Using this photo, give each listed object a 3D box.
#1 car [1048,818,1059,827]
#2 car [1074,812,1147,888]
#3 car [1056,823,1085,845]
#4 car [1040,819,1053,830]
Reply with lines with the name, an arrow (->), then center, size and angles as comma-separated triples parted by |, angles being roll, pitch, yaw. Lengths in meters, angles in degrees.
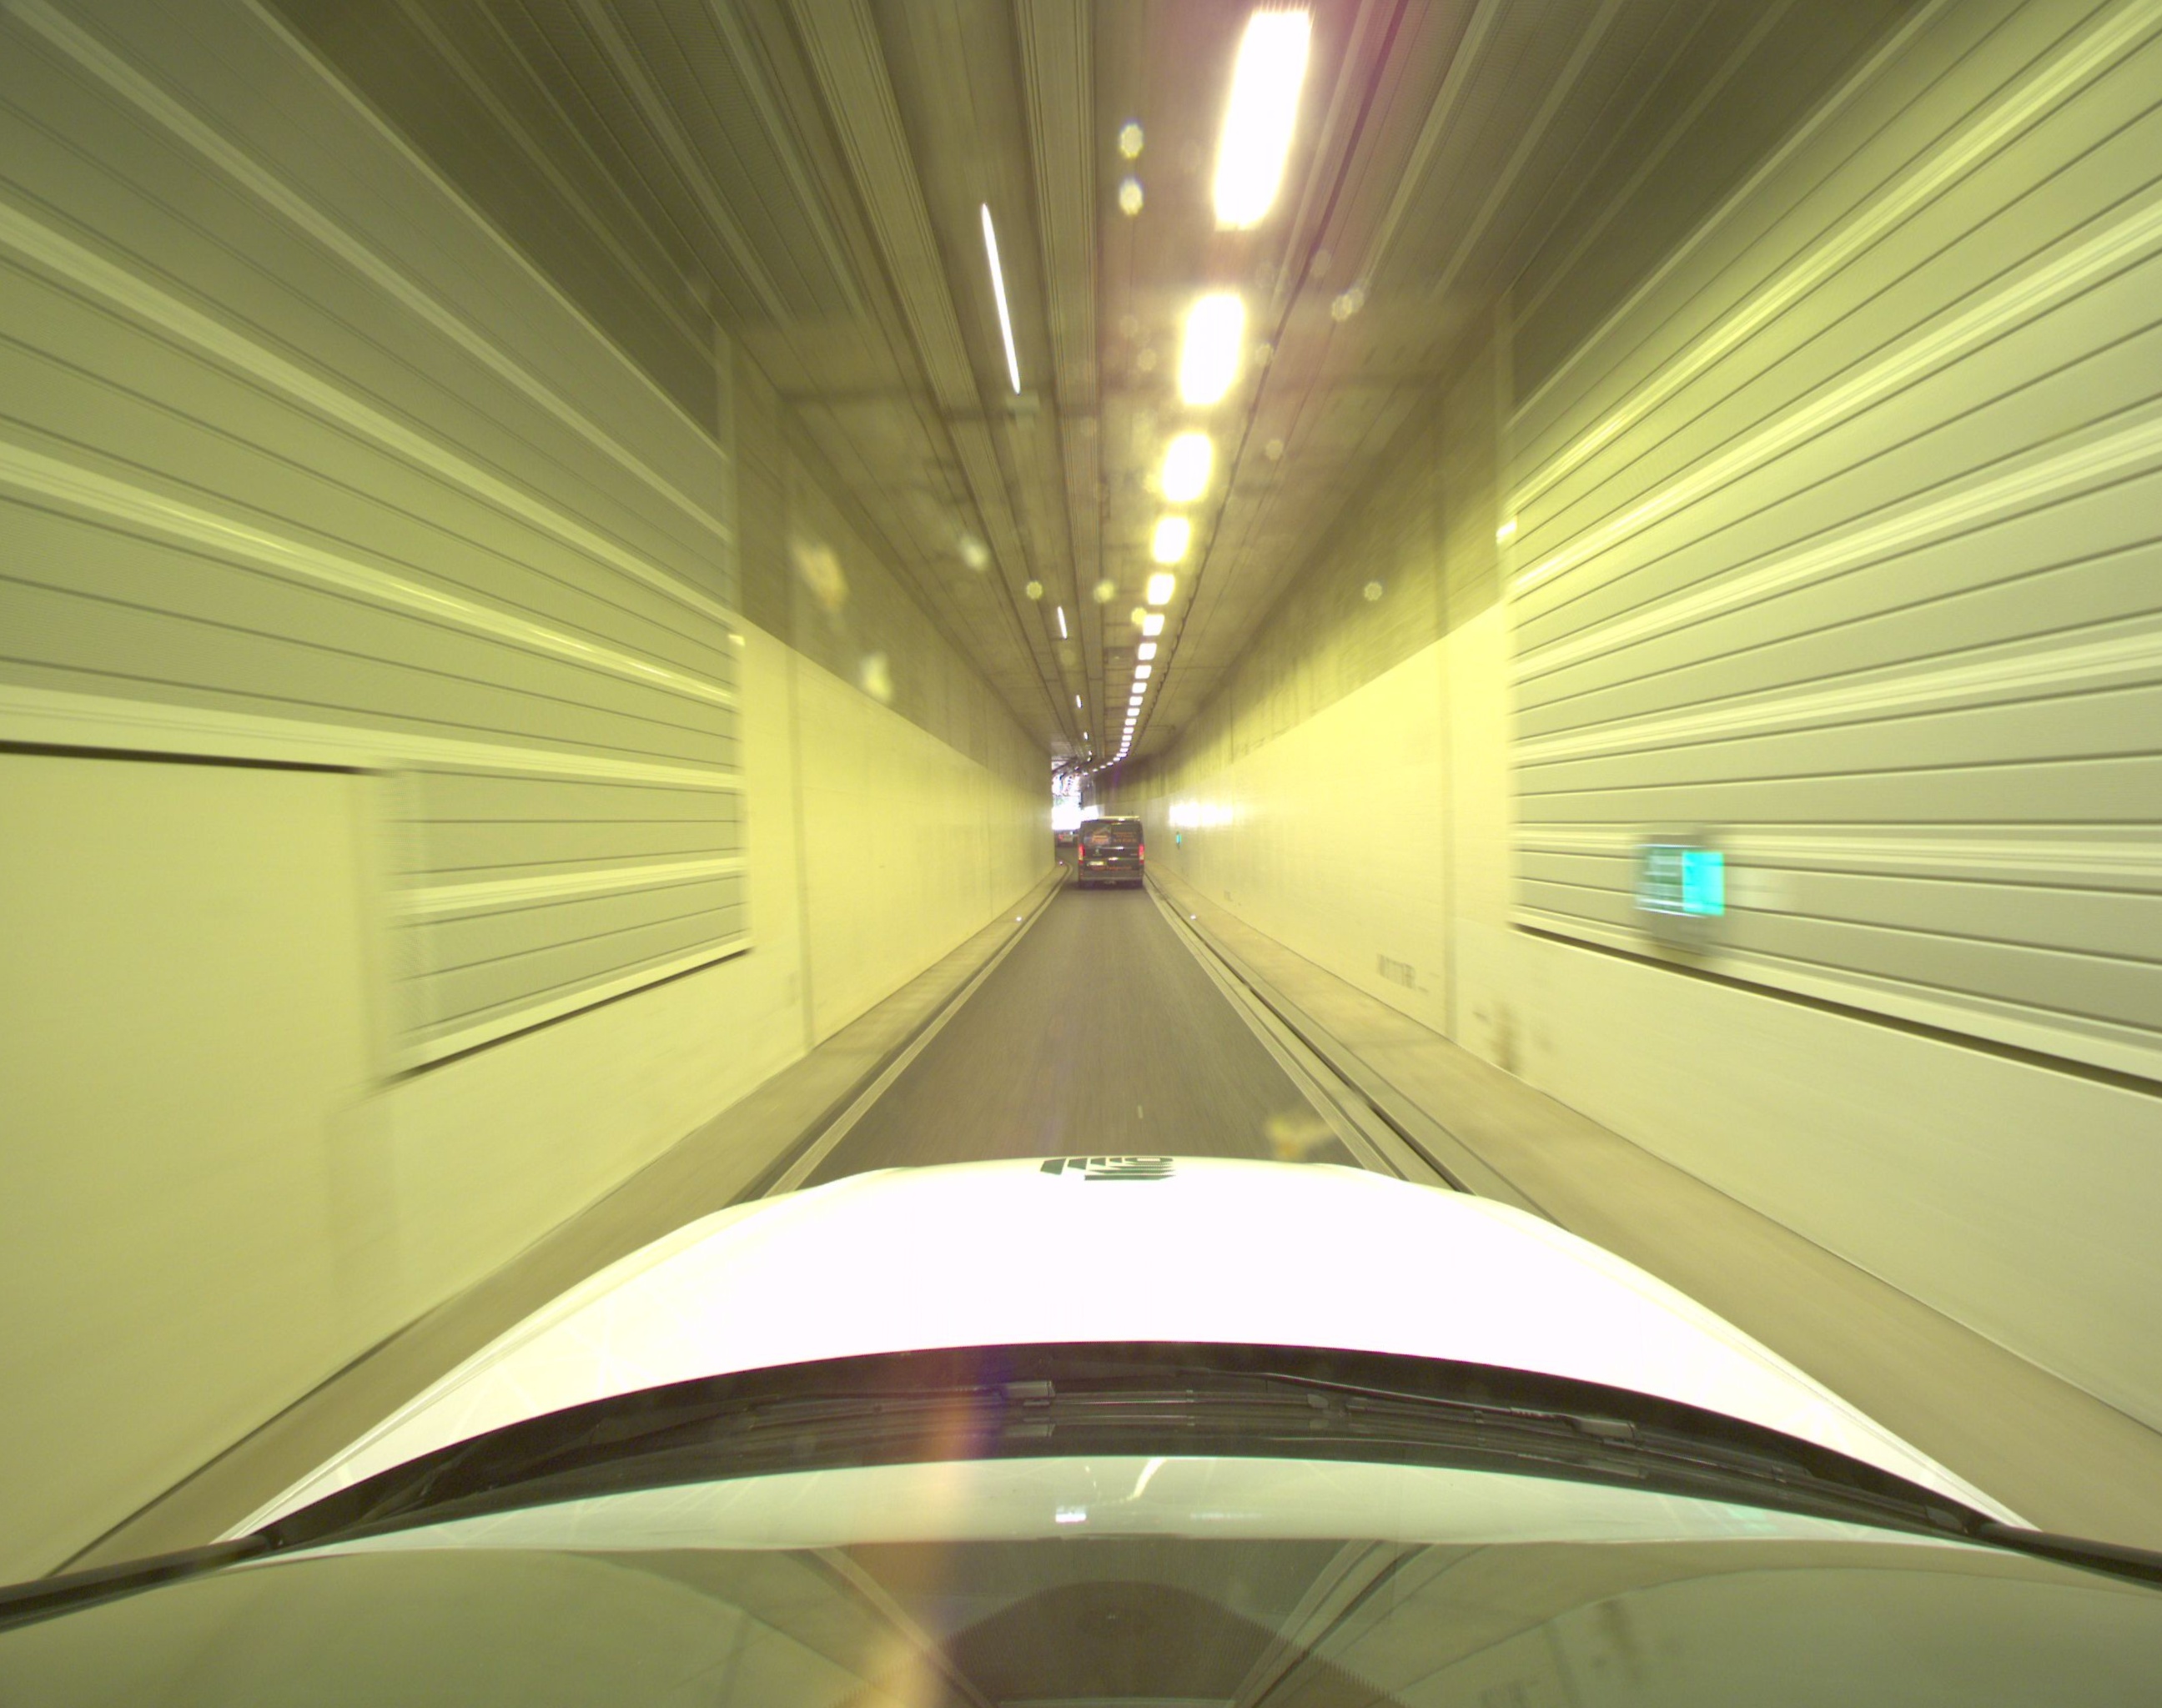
car -> -5.058, -5.790, 149.036 | 1.872, 1.624, 4.217 | 0, 2, -3
car -> 0.975, -0.215, 26.686 | 2.150, 2.265, 4.640 | -1, 2, 2
car -> -0.745, -1.538, 60.646 | 2.078, 1.513, 4.637 | -2, 3, 0
car -> -5.098, -4.331, 121.100 | 1.872, 1.624, 4.217 | 0, 2, -3
